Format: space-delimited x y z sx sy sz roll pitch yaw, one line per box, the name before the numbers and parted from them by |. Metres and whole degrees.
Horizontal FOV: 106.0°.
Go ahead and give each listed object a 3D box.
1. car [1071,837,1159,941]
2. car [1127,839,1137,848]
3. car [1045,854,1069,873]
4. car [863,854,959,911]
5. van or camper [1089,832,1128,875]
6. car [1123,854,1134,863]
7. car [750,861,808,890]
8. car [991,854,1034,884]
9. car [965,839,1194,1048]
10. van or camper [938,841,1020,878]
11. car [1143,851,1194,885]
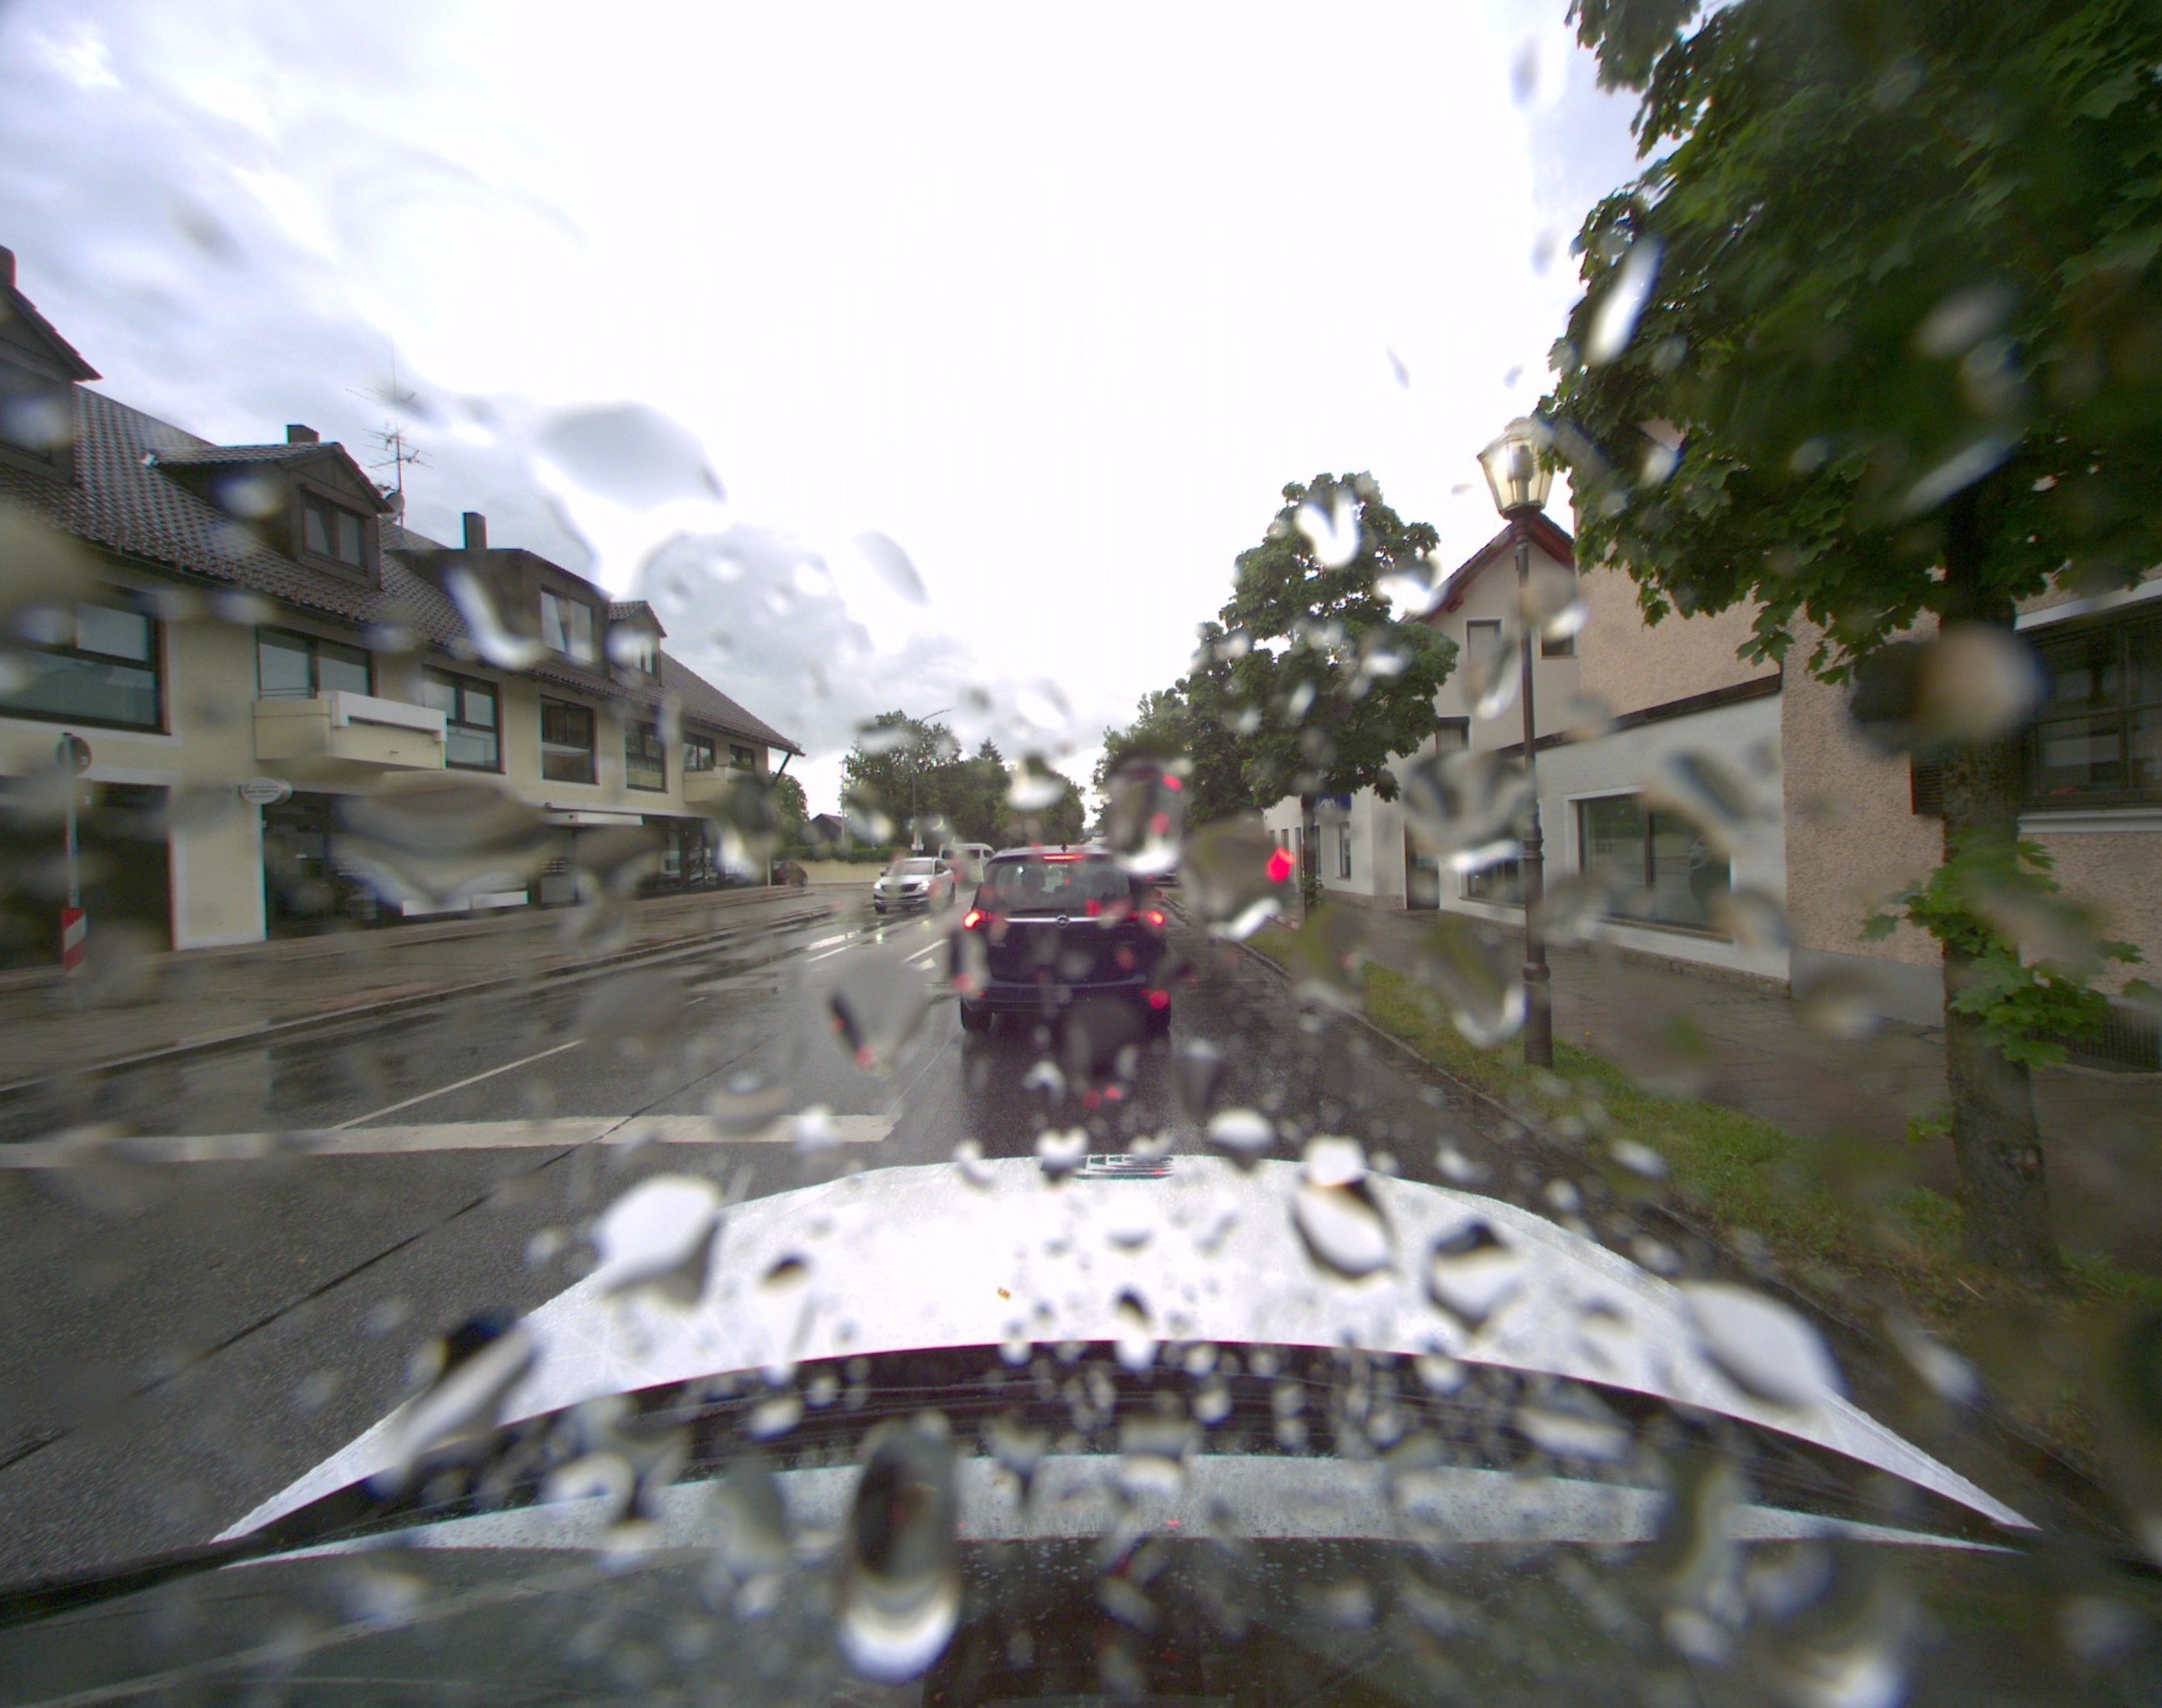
car | 0.639 0.599 15.417 1.494 1.776 3.113 0 0 2
car | 8.609 -1.689 137.587 1.624 1.378 3.624 -2 0 2
car | -2.107 0.812 71.856 1.745 1.511 4.233 -3 0 3
car | -5.202 0.818 25.538 1.960 1.563 4.153 -3 0 2
van or camper | 1.811 -0.043 53.789 2.351 2.665 5.374 -2 0 2
car | 7.456 0.669 128.011 1.624 1.378 3.624 0 -1 2
car | -15.952 1.122 43.212 1.601 1.380 3.510 -3 0 2
car | -3.867 0.817 46.574 1.920 1.566 4.127 -2 0 1
car | 0.046 0.694 8.155 1.762 1.604 3.665 -1 0 2
van or camper | -8.056 0.451 64.975 6.232 2.707 2.099 -2 0 -2
car | 4.171 0.661 39.329 2.110 1.581 3.936 0 0 1
